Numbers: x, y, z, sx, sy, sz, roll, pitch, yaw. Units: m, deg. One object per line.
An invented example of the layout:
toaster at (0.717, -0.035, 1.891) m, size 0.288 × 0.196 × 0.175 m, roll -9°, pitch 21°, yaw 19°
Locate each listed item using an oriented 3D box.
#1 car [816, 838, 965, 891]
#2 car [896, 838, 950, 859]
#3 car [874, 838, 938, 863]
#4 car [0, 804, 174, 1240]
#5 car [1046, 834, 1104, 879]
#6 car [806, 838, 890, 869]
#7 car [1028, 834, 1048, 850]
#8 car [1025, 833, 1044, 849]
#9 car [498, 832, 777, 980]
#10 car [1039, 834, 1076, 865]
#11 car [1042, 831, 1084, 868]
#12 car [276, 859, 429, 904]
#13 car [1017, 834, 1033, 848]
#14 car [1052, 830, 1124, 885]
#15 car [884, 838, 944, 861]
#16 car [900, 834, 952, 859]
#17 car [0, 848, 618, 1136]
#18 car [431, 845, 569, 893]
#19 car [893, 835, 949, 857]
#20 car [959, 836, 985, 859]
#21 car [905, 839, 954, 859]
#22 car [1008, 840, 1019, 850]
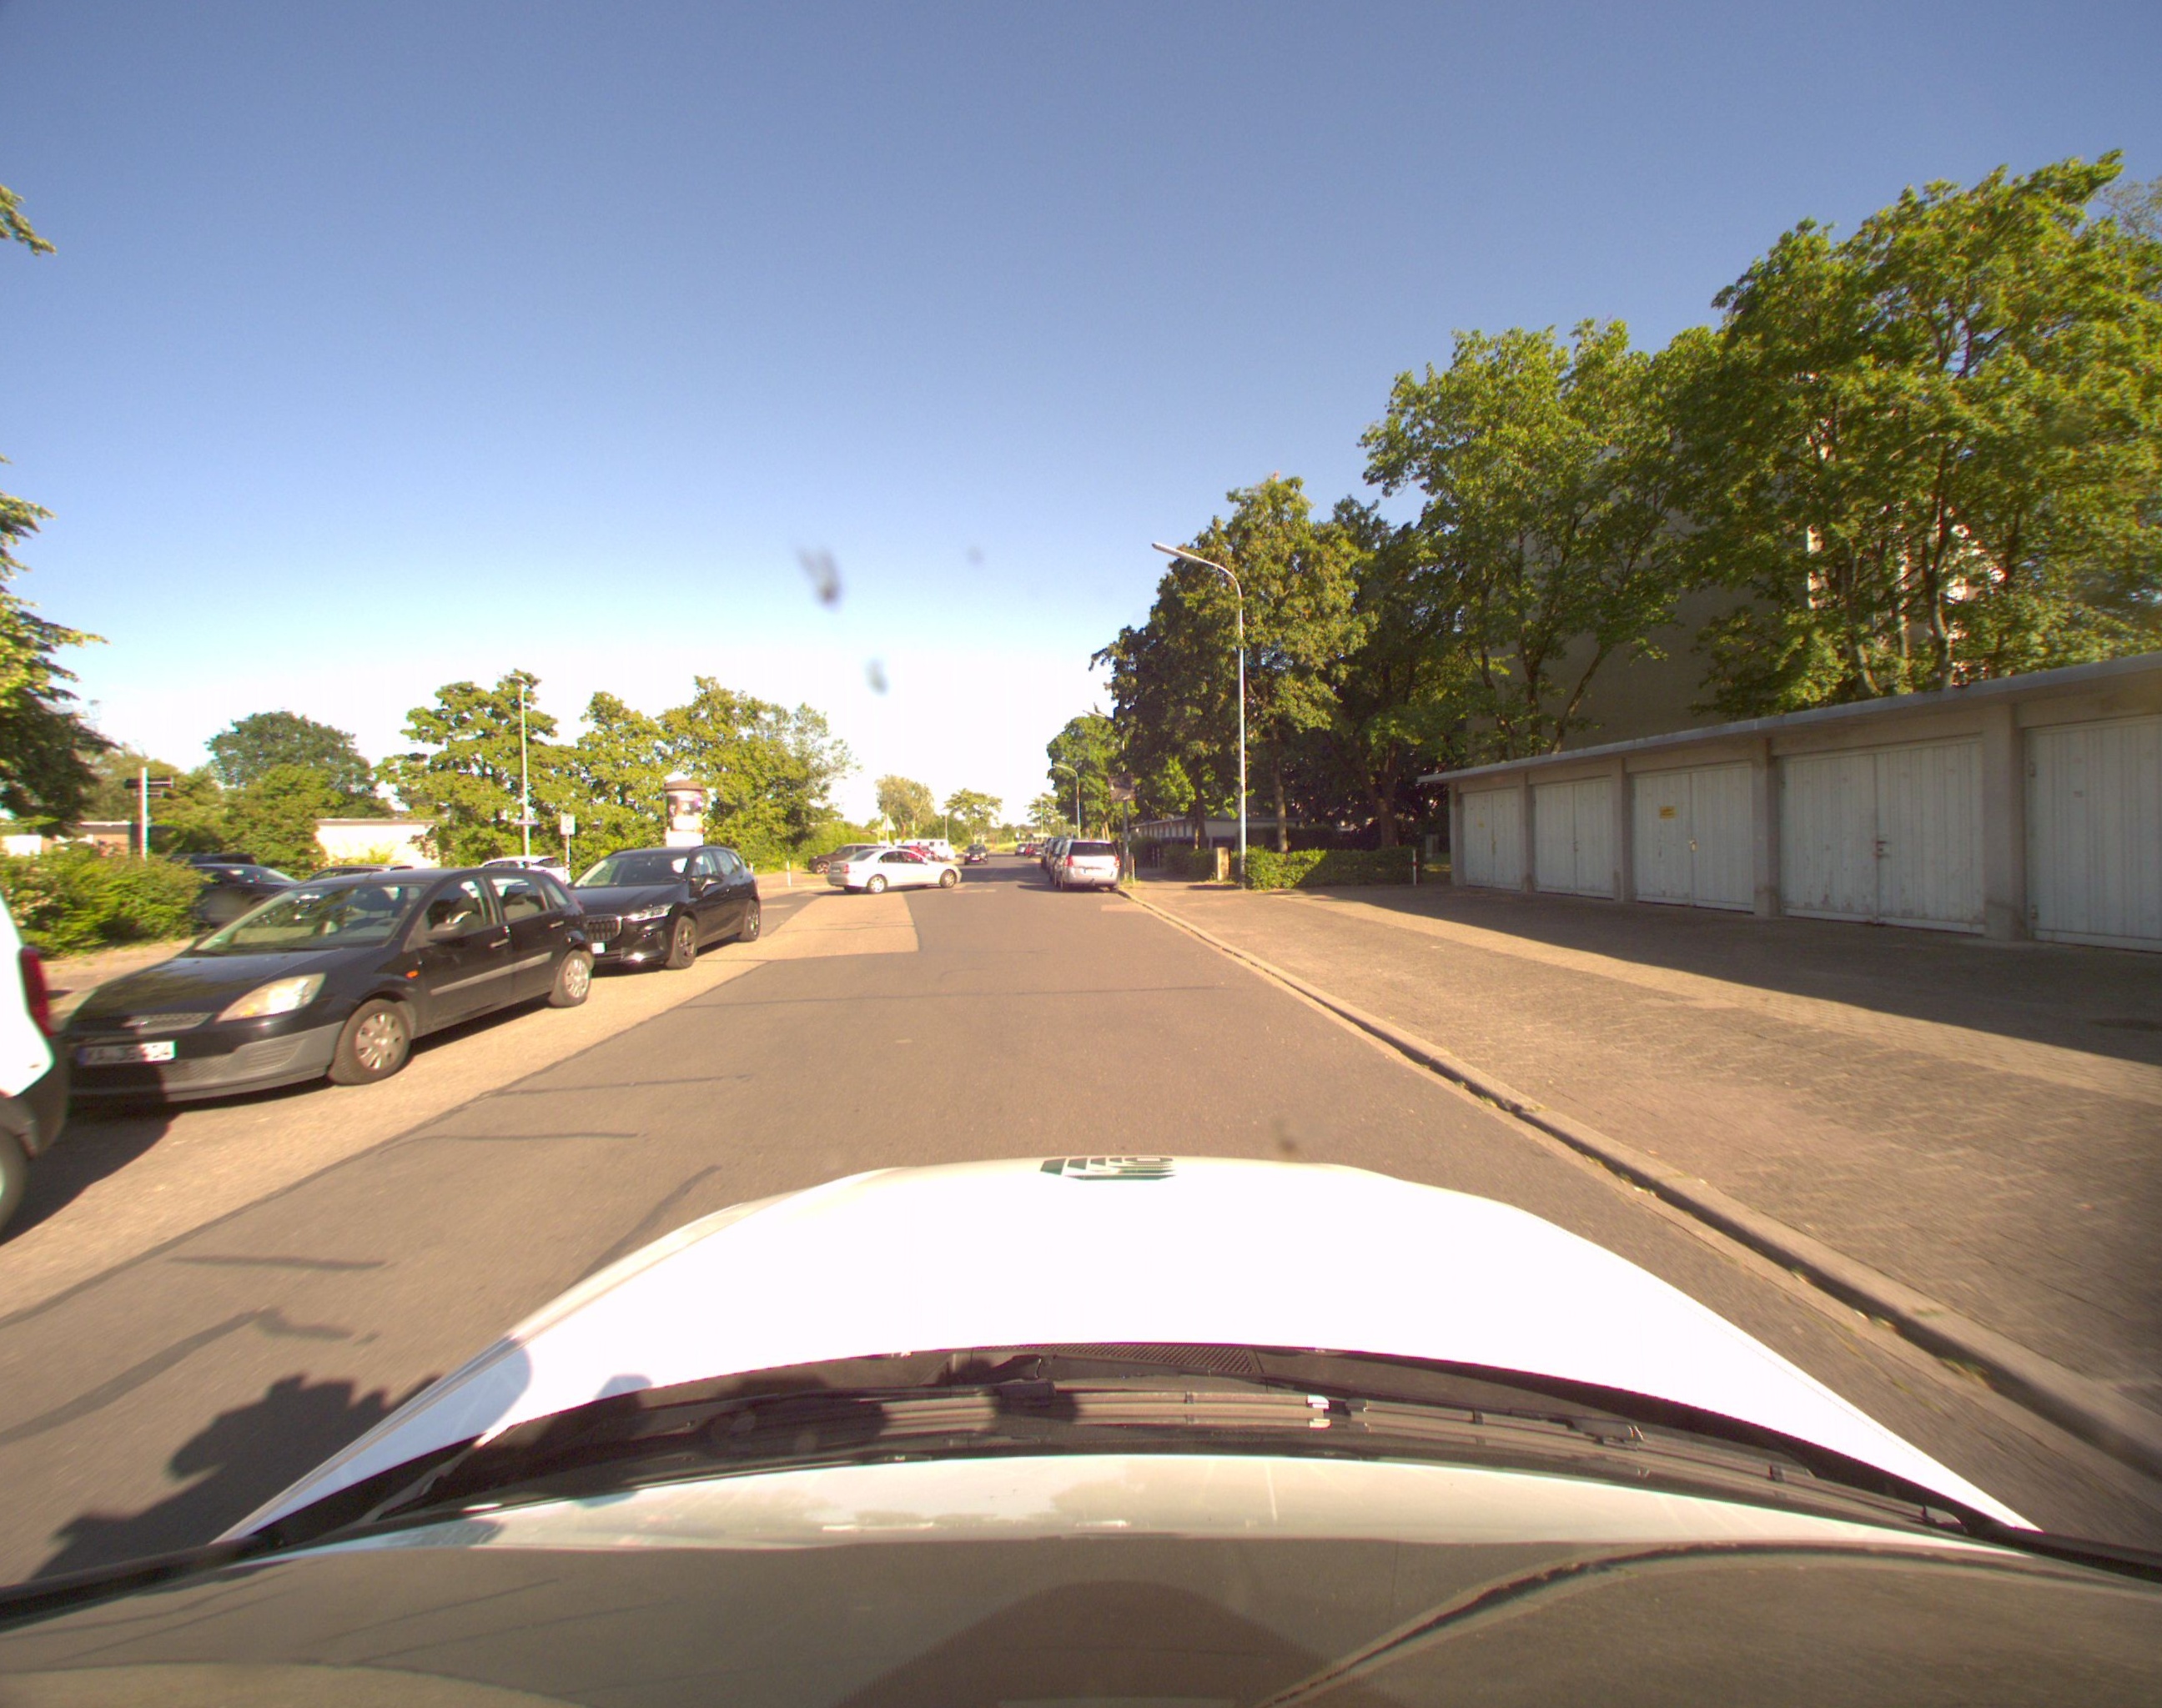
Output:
car at (-6.193, 0.301, 26.848) m, size 4.426 × 1.436 × 1.821 m, roll -4°, pitch 2°, yaw -43°
car at (-12.335, -0.431, 63.672) m, size 4.053 × 1.561 × 1.796 m, roll -1°, pitch 1°, yaw -9°
car at (-11.603, -0.263, 54.197) m, size 4.053 × 1.561 × 1.796 m, roll -1°, pitch 1°, yaw -9°
car at (-5.101, 0.741, 1.797) m, size 1.743 × 1.732 × 4.000 m, roll -3°, pitch 2°, yaw -4°
car at (-0.291, 0.031, 30.732) m, size 1.794 × 1.561 × 3.943 m, roll -1°, pitch 1°, yaw -6°
car at (-12.353, -0.058, 43.423) m, size 4.053 × 1.561 × 1.796 m, roll -1°, pitch 1°, yaw -9°
car at (-4.285, -1.173, 80.365) m, size 1.794 × 1.548 × 3.943 m, roll -1°, pitch 1°, yaw -6°
car at (-5.008, -1.437, 87.794) m, size 1.794 × 1.643 × 3.943 m, roll -1°, pitch 1°, yaw -6°
car at (-5.908, 0.541, 11.557) m, size 1.743 × 1.613 × 4.302 m, roll -3°, pitch 2°, yaw -4°
car at (-1.355, -0.278, 45.771) m, size 1.794 × 1.643 × 3.943 m, roll -1°, pitch 1°, yaw -6°
car at (-0.952, -0.270, 41.279) m, size 1.794 × 1.786 × 3.943 m, roll -1°, pitch 1°, yaw -6°
car at (-24.583, 0.915, 27.592) m, size 3.497 × 1.361 × 1.603 m, roll -1°, pitch 1°, yaw -9°
car at (-6.755, -1.589, 97.453) m, size 1.794 × 1.643 × 3.943 m, roll -1°, pitch 1°, yaw -6°
car at (0.151, 0.061, 25.428) m, size 1.794 × 1.561 × 3.943 m, roll -1°, pitch 1°, yaw -6°
car at (-11.886, -0.334, 58.114) m, size 4.053 × 1.561 × 1.796 m, roll -1°, pitch 1°, yaw -9°
car at (-12.643, -0.632, 66.589) m, size 4.053 × 1.992 × 1.796 m, roll -1°, pitch 1°, yaw -9°
car at (-5.781, 0.772, 6.660) m, size 1.743 × 1.478 × 4.148 m, roll -3°, pitch 2°, yaw -4°
car at (-20.045, 0.489, 28.242) m, size 3.497 × 1.561 × 1.603 m, roll -1°, pitch 1°, yaw -9°
car at (-12.015, -0.591, 61.283) m, size 4.053 × 1.561 × 1.796 m, roll -1°, pitch 1°, yaw -9°
car at (-7.932, -0.496, 59.475) m, size 1.794 × 1.561 × 3.943 m, roll -1°, pitch 1°, yaw -6°
car at (-12.766, -0.432, 68.829) m, size 4.053 × 1.561 × 1.796 m, roll -1°, pitch 1°, yaw -9°
car at (-11.974, -1.628, 143.691) m, size 1.794 × 1.643 × 3.943 m, roll -1°, pitch 1°, yaw -6°
